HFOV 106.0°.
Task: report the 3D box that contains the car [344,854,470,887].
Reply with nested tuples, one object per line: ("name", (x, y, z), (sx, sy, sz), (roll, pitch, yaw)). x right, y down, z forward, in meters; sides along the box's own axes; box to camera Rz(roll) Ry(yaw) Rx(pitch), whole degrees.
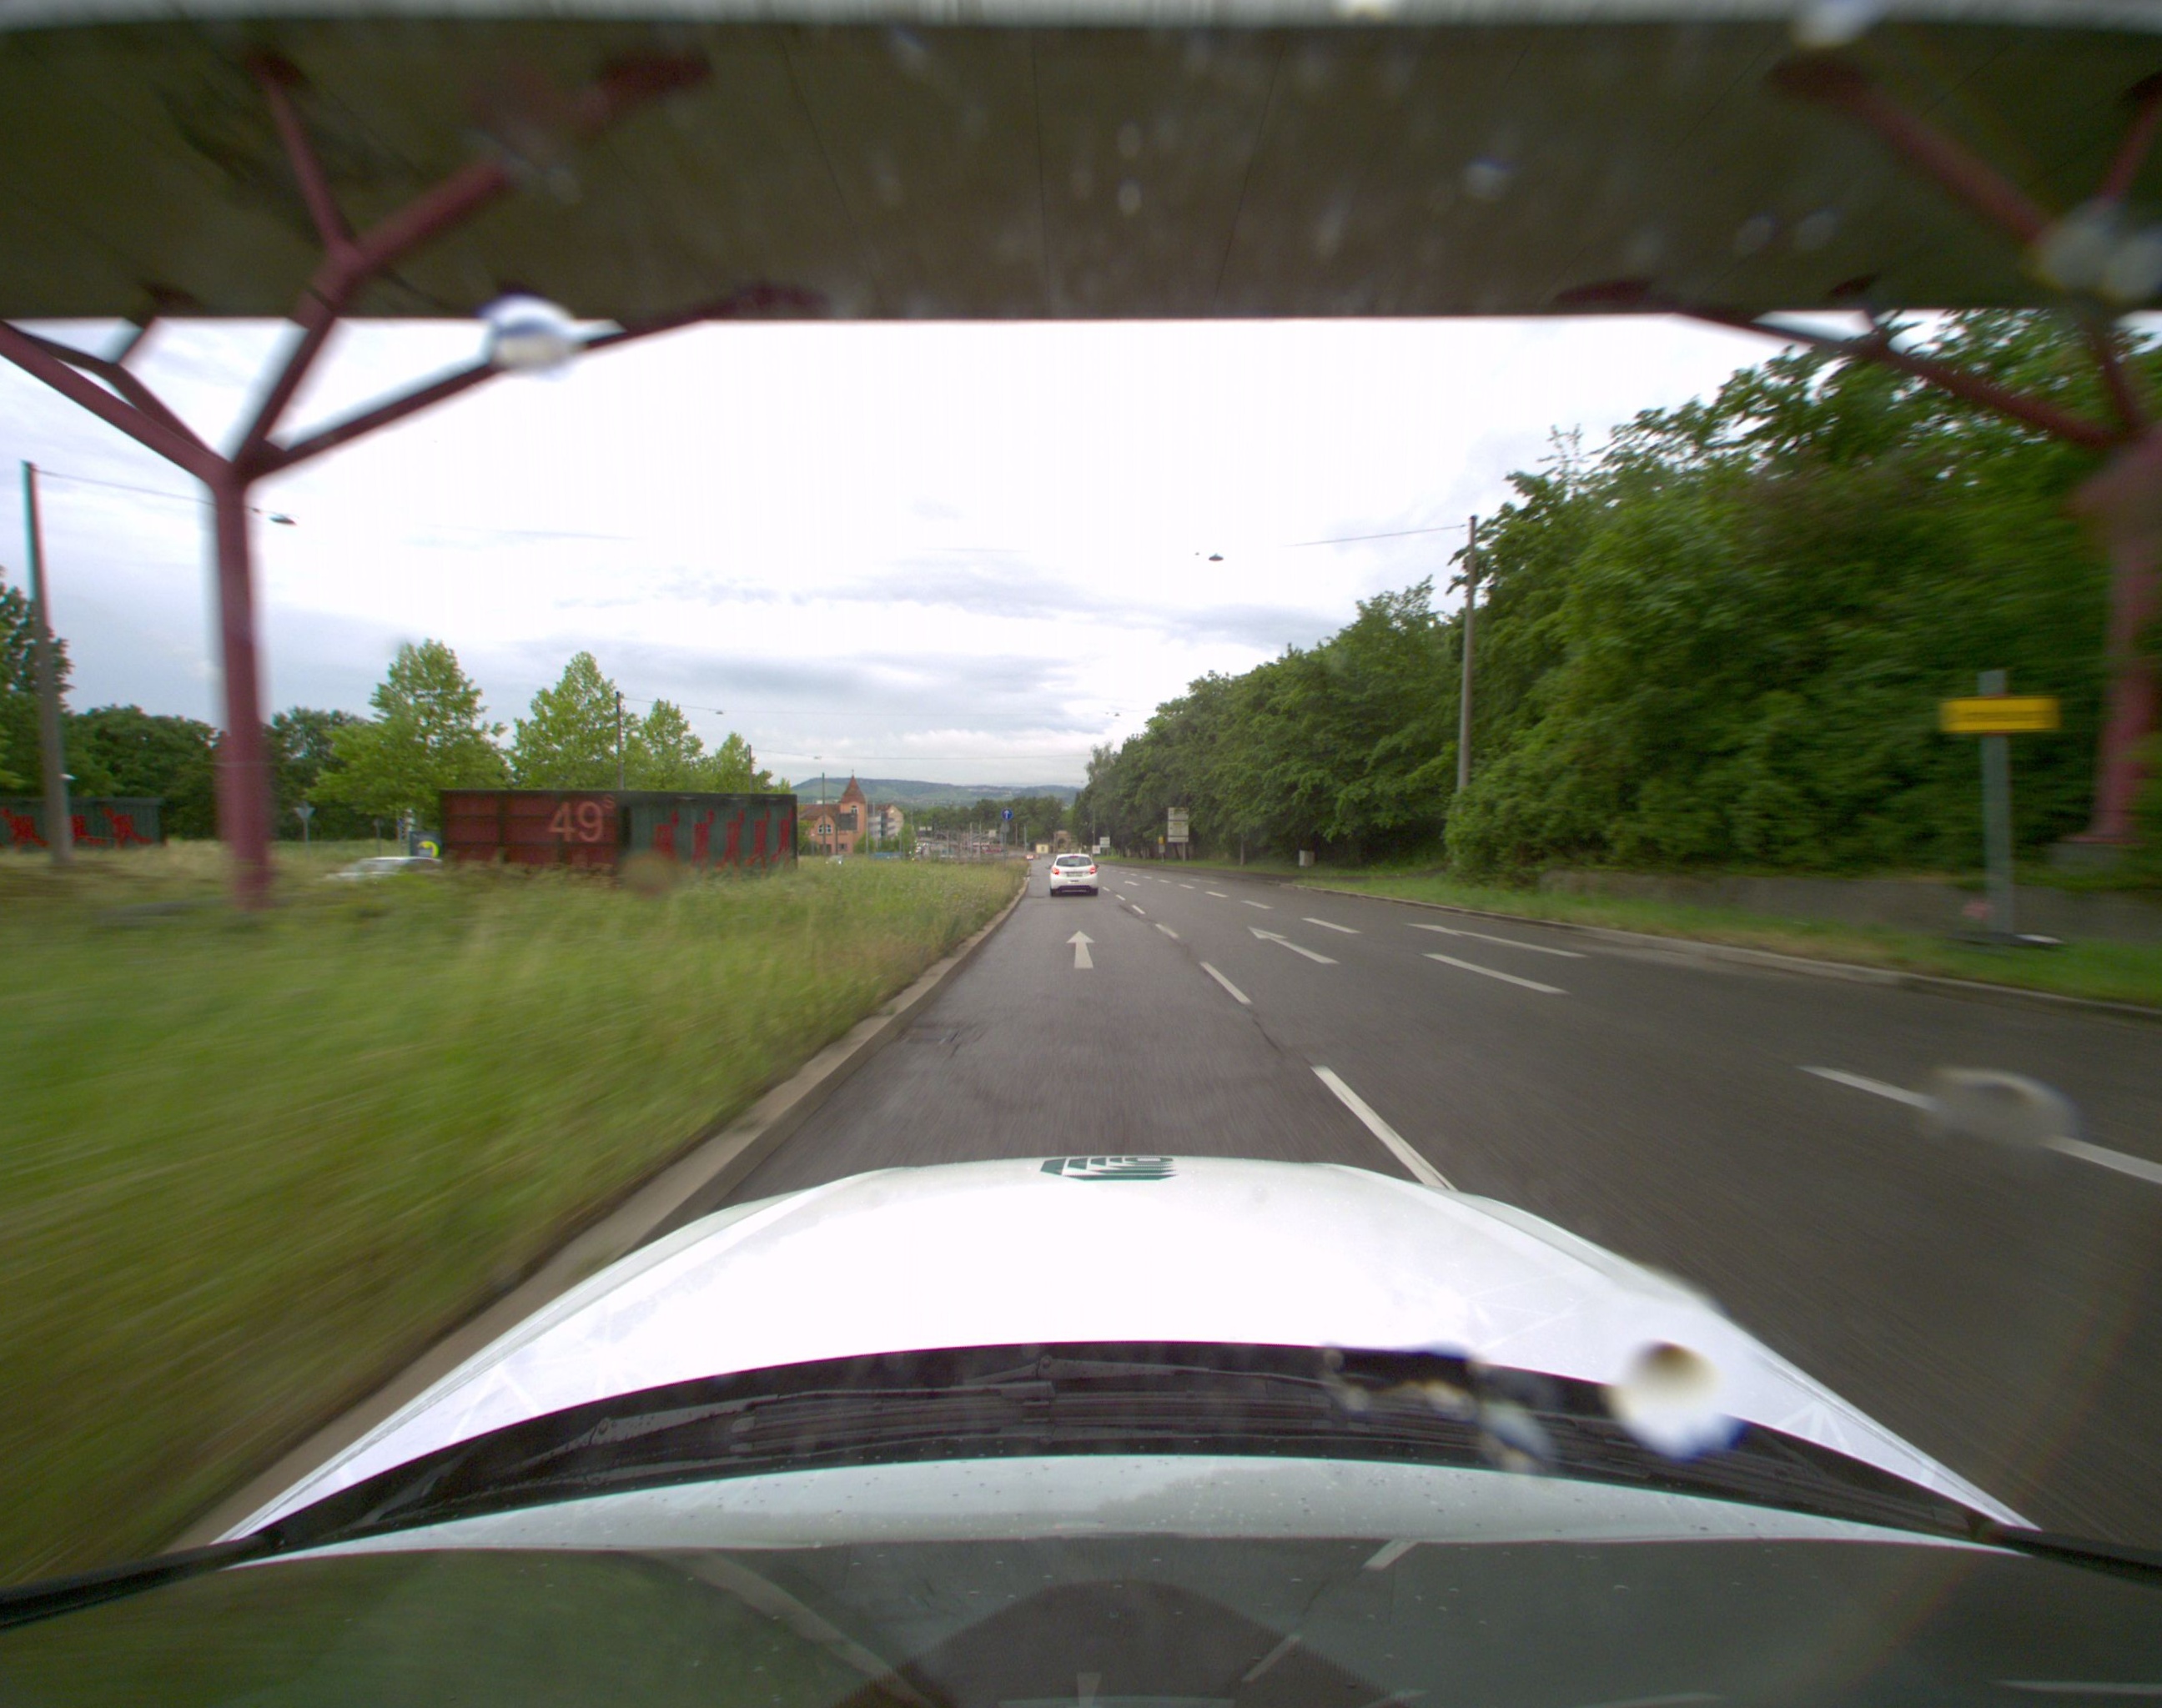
("car", (-21.500, 0.507, 26.113), (1.260, 0.945, 3.091), (2, 0, 5))

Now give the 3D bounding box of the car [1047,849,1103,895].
("car", (-0.224, 0.586, 29.683), (1.863, 1.511, 3.898), (-1, 1, -1))

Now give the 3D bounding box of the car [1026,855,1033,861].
("car", (-14.085, 0.991, 223.950), (1.818, 1.606, 3.997), (-3, 0, -2))
